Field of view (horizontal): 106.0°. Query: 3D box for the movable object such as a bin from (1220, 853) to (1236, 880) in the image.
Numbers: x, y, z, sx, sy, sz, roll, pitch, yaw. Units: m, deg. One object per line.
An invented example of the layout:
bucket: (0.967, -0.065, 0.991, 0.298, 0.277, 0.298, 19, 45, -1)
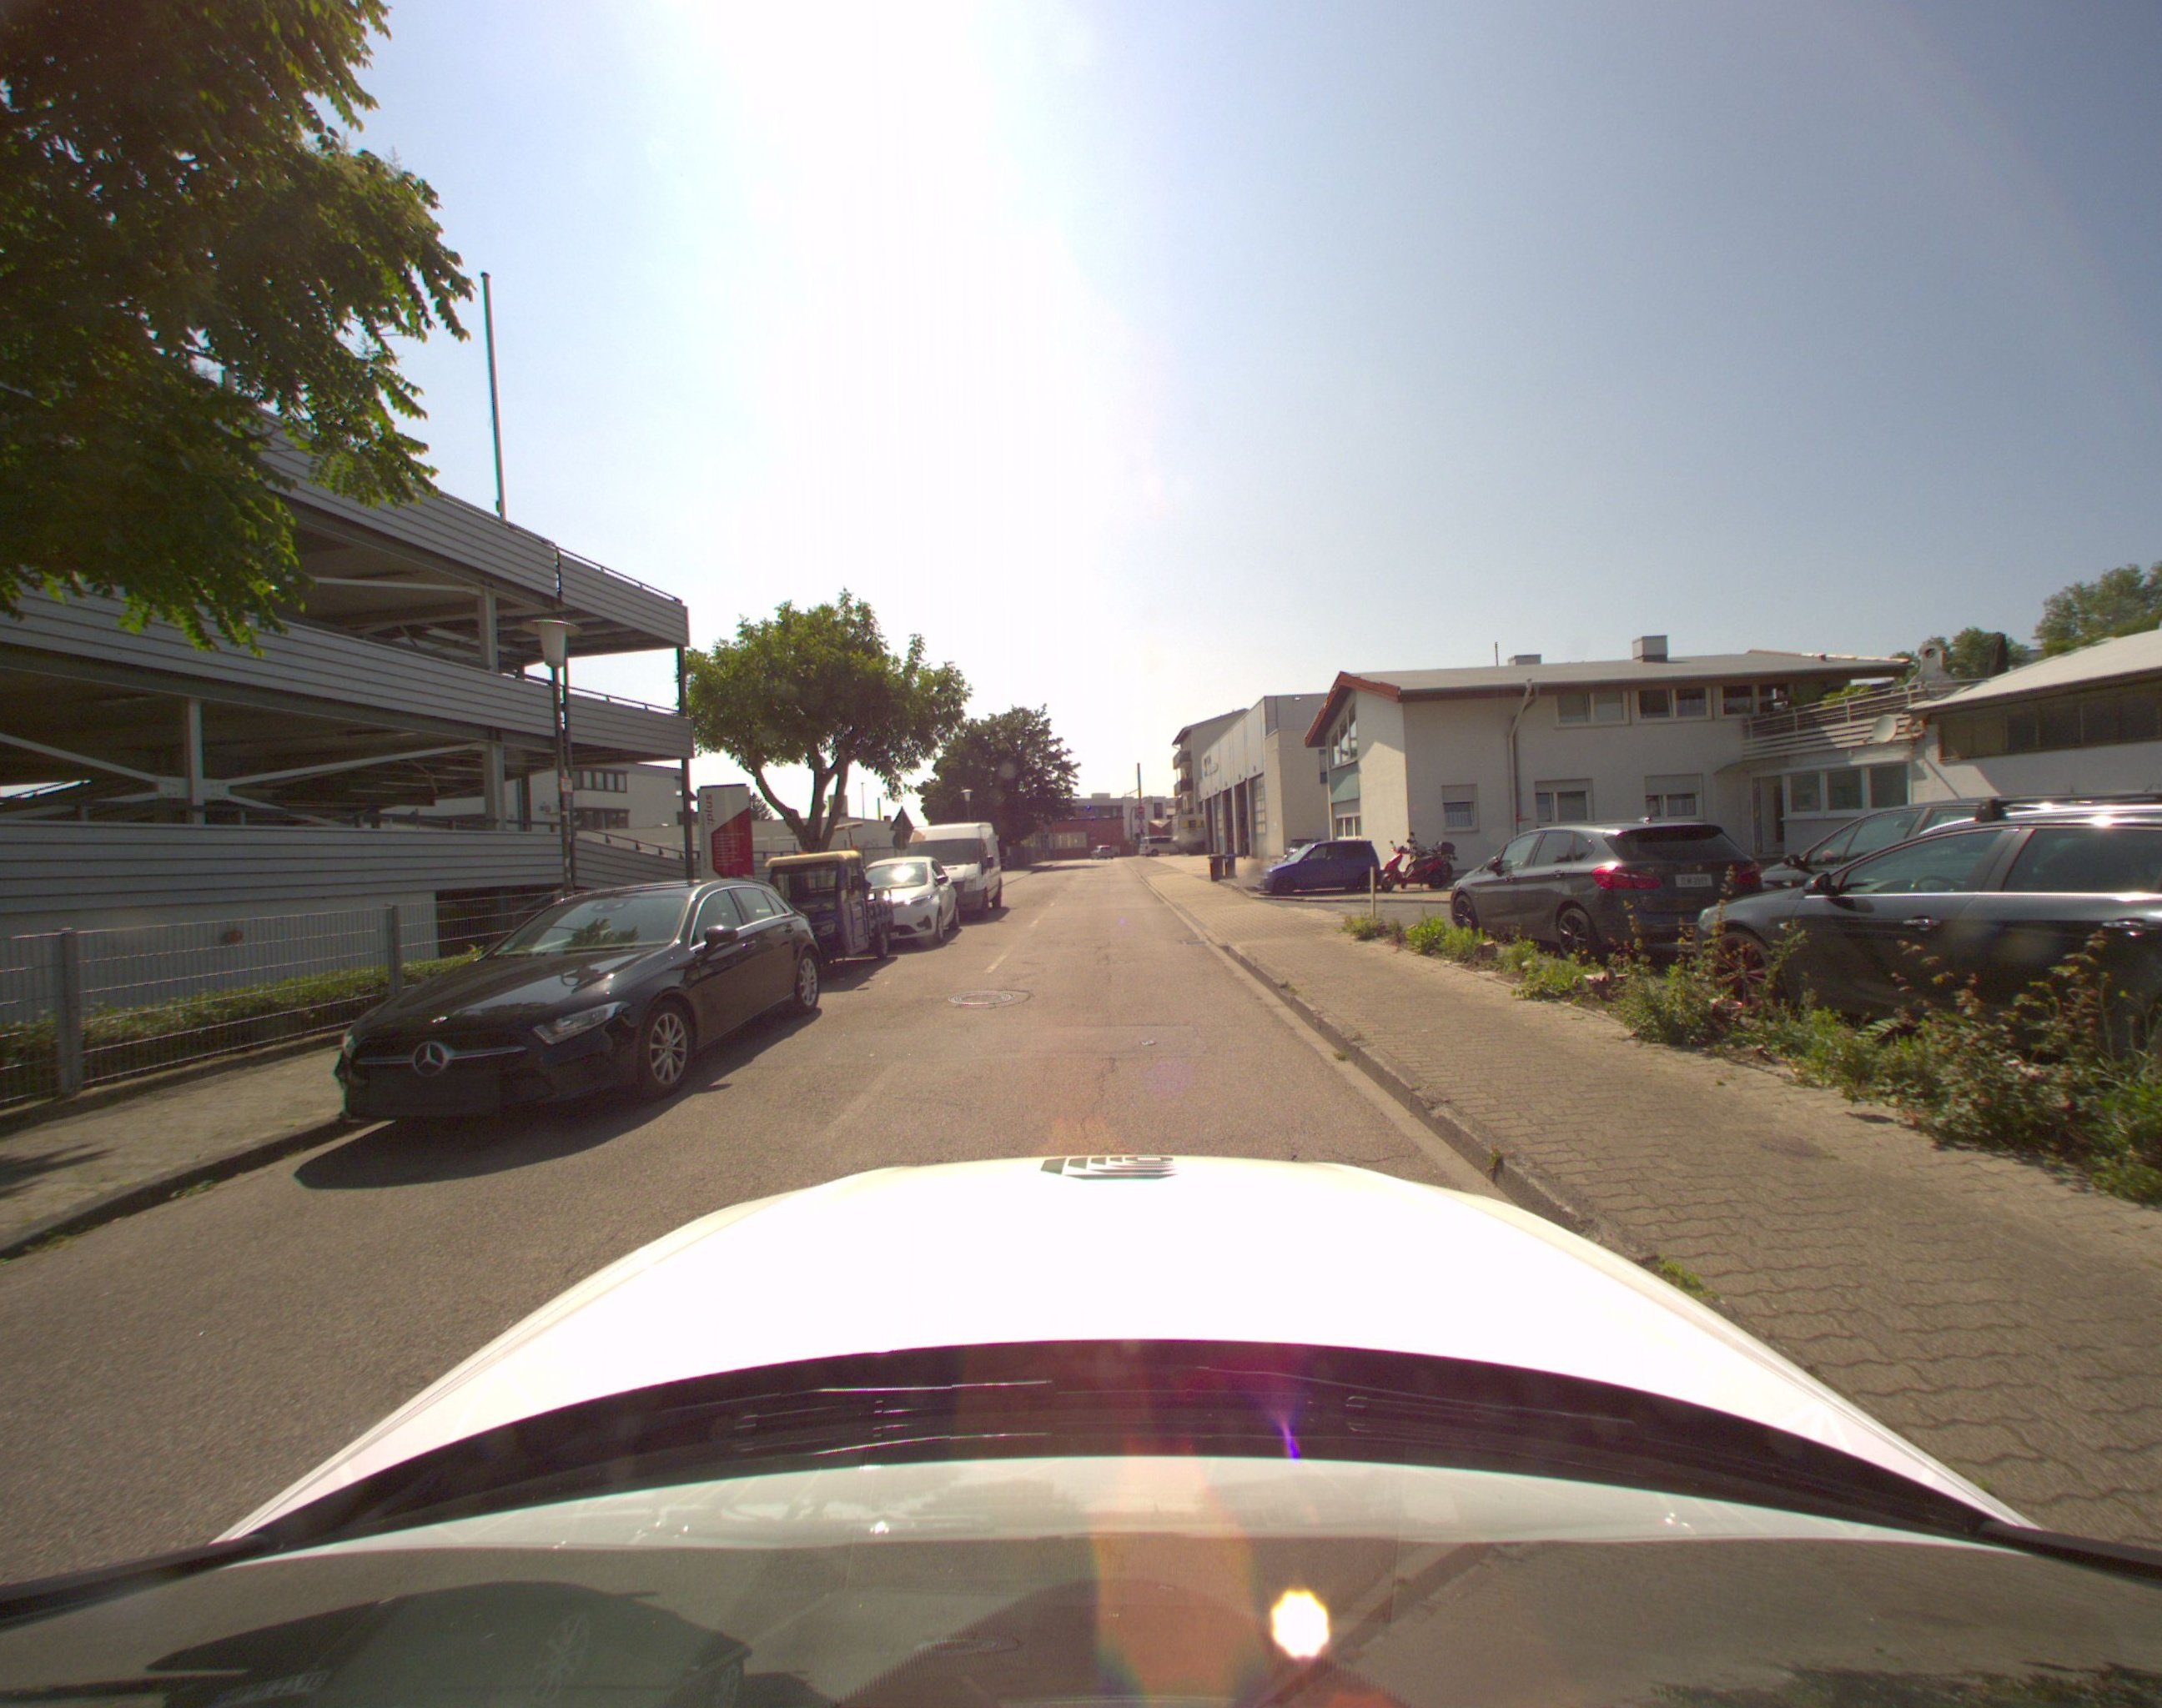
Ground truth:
movable object such as a bin: (5.450, 0.451, 30.183, 0.510, 0.946, 0.489, -3, 0, 13)

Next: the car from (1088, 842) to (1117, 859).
car: (2.310, -0.371, 88.728, 1.895, 1.685, 3.934, -3, 0, -18)

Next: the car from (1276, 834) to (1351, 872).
car: (10.815, -0.085, 37.811, 1.756, 1.539, 3.725, -3, 1, 43)

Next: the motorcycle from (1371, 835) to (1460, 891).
motorcycle: (8.518, 0.219, 20.788, 1.864, 1.279, 0.796, -4, 0, -2)

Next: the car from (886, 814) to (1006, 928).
car: (-3.217, 0.357, 20.608, 1.999, 2.366, 5.229, -4, 0, 0)

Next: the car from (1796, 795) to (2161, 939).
car: (12.065, 0.109, 10.438, 1.759, 1.496, 4.136, -4, 0, -9)

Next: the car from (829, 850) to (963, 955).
car: (-3.340, 0.800, 15.430, 1.701, 1.624, 3.969, -4, 0, -3)

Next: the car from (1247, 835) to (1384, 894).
car: (6.306, 0.275, 22.150, 3.240, 1.398, 1.674, -3, 0, 2)

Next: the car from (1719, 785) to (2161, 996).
car: (8.427, 0.256, 7.973, 1.751, 1.595, 3.624, 1, 1, 5)

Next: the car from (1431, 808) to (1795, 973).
car: (6.225, 0.348, 10.262, 1.805, 1.558, 4.294, -3, 0, 1)

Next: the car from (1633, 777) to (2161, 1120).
car: (5.855, 0.379, 4.814, 1.852, 1.567, 4.953, -3, 0, 1)

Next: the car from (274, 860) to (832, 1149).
car: (-3.601, 0.861, 6.635, 1.698, 1.463, 4.115, -4, 0, 1)

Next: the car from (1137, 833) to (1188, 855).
car: (8.211, -1.031, 81.752, 4.666, 1.957, 1.905, -3, 0, -17)

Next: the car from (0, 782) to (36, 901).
car: (-17.002, -0.168, 10.635, 1.794, 1.672, 4.025, -3, -2, 35)

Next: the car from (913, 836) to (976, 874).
car: (-9.798, 0.035, 58.651, 4.073, 2.513, 1.777, -3, 0, -1)

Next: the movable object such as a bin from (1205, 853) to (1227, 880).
movable object such as a bin: (4.944, 0.451, 29.782, 0.562, 0.946, 0.561, -3, 0, 35)

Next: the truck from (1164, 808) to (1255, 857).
truck: (11.499, -1.957, 73.271, 7.346, 3.645, 2.763, -6, 1, -5)

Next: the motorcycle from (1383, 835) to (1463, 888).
motorcycle: (9.146, 0.193, 21.809, 1.748, 1.279, 0.794, -4, 0, -8)

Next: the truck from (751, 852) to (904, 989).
truck: (-3.535, 0.835, 11.823, 1.135, 1.622, 3.140, -5, 0, 0)

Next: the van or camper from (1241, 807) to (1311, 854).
van or camper: (14.921, -1.776, 62.438, 4.743, 3.288, 1.999, -3, 0, -2)
